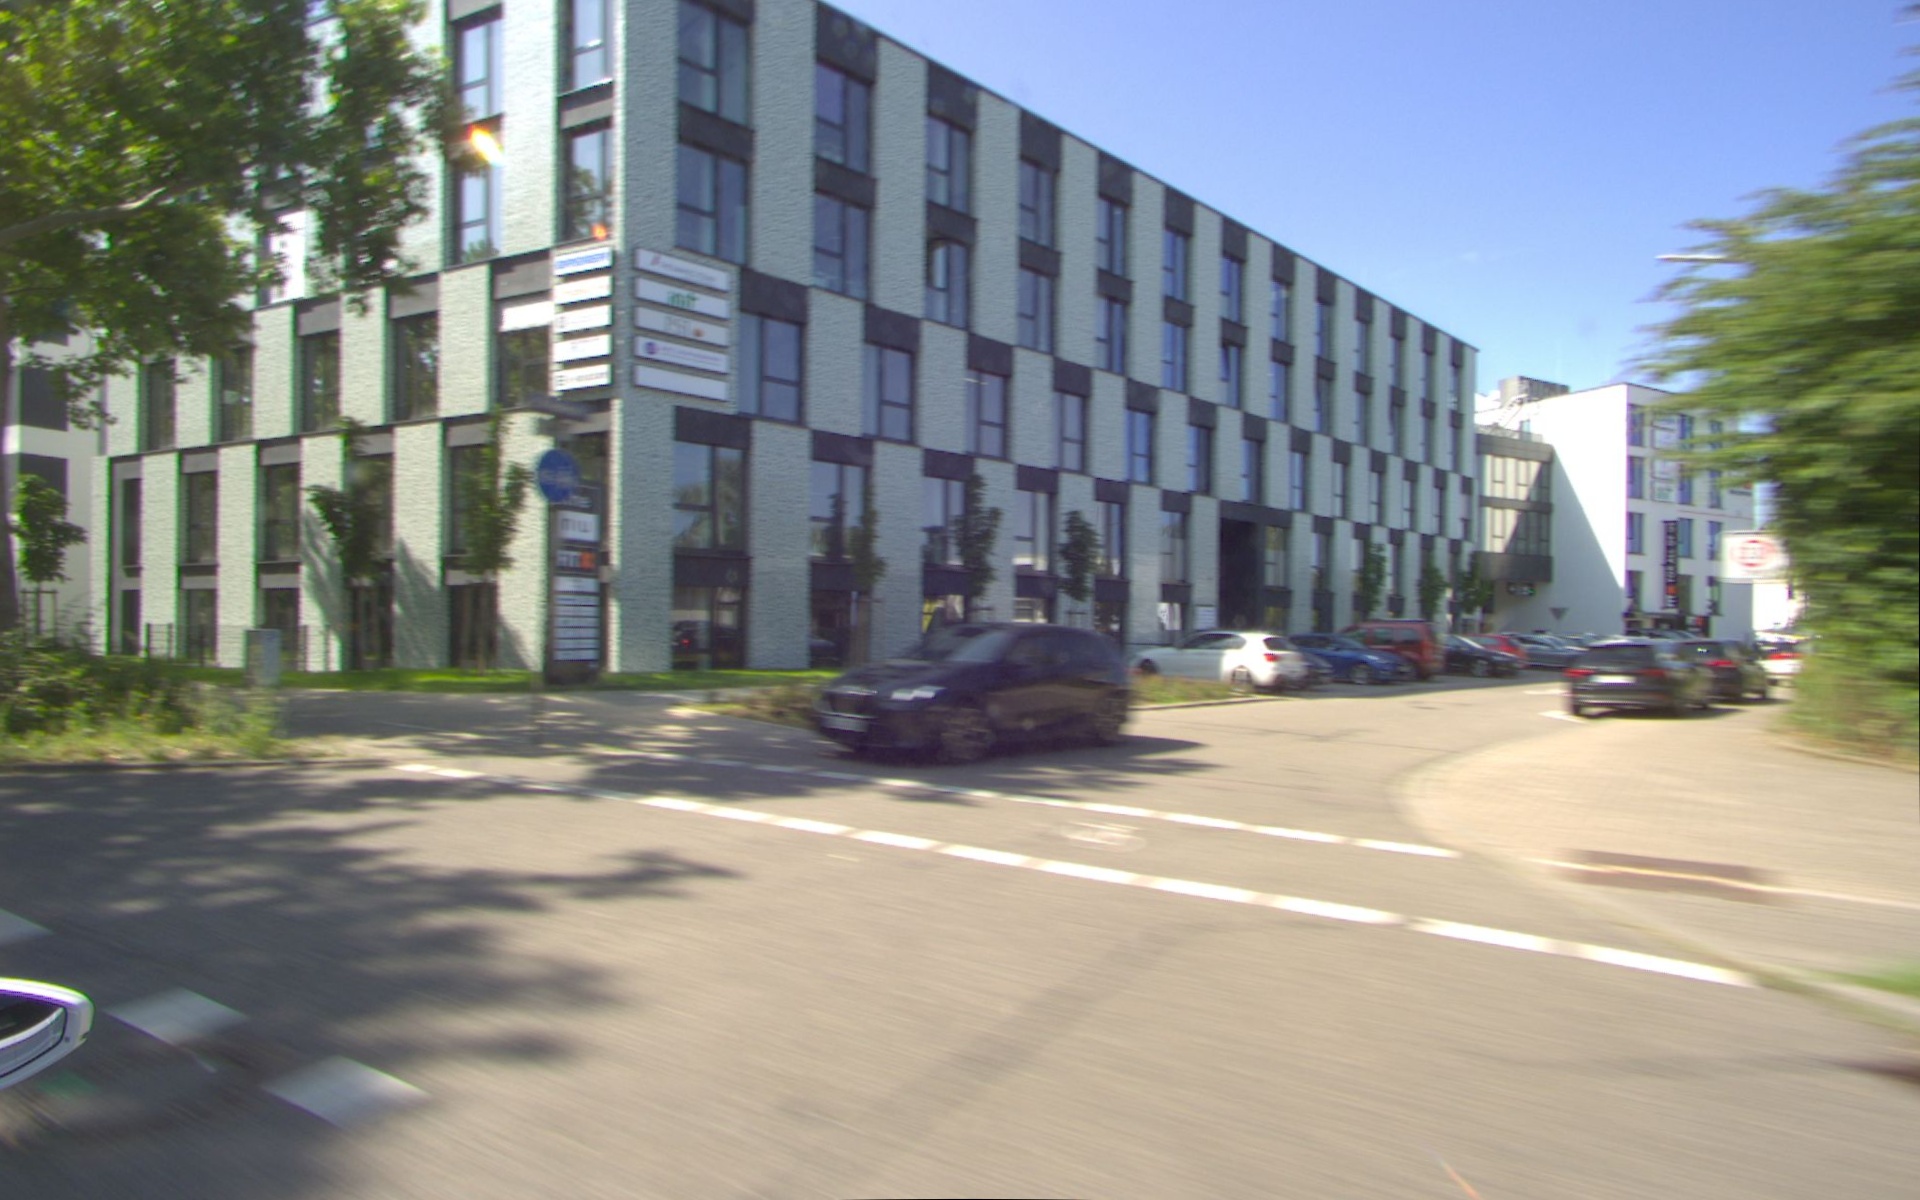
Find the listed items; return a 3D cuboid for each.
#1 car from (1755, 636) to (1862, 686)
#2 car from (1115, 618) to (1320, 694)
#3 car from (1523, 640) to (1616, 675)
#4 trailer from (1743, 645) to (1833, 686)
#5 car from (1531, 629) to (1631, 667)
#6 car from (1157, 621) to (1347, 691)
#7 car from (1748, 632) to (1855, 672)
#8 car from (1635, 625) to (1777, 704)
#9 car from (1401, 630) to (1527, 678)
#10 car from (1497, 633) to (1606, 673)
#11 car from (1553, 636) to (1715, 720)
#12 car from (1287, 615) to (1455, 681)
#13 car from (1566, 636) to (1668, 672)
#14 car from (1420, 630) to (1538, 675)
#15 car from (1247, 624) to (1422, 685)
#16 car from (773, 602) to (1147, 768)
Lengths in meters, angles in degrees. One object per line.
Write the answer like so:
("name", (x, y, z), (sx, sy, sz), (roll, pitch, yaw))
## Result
("car", (28.604, 2.036, 33.728), (4.214, 1.537, 1.984), (2, -2, -39))
("car", (6.168, 1.292, 24.346), (1.981, 1.572, 4.437), (3, -1, -43))
("car", (25.808, 2.428, 42.451), (1.462, 1.358, 3.097), (1, -1, -44))
("trailer", (26.053, 2.026, 31.476), (3.191, 1.195, 1.585), (2, -2, -39))
("car", (27.598, 2.106, 44.559), (1.633, 1.455, 3.495), (1, 1, -44))
("car", (7.631, 1.433, 26.476), (1.981, 1.572, 4.437), (3, -1, -43))
("car", (49.340, 3.015, 58.792), (1.832, 1.988, 4.370), (2, 2, -31))
("car", (17.088, 1.435, 22.877), (3.962, 1.572, 1.980), (3, -1, -44))
("car", (17.245, 1.811, 34.348), (1.633, 1.396, 3.495), (1, 1, -44))
("car", (24.126, 2.138, 40.908), (1.633, 1.396, 3.495), (1, 1, -44))
("car", (12.851, 1.408, 19.000), (1.852, 1.415, 4.020), (-2, -3, 44))
("car", (12.779, 1.447, 31.342), (1.981, 1.876, 4.437), (2, -1, -43))
("car", (30.051, 2.426, 45.858), (1.690, 1.505, 3.671), (1, -1, -43))
("car", (18.878, 1.883, 36.496), (1.633, 1.396, 3.495), (1, 1, -44))
("car", (10.992, 1.558, 29.625), (1.981, 1.572, 4.437), (3, -2, -43))
("car", (0.168, 0.869, 11.492), (1.978, 1.537, 4.227), (0, -2, 42))
